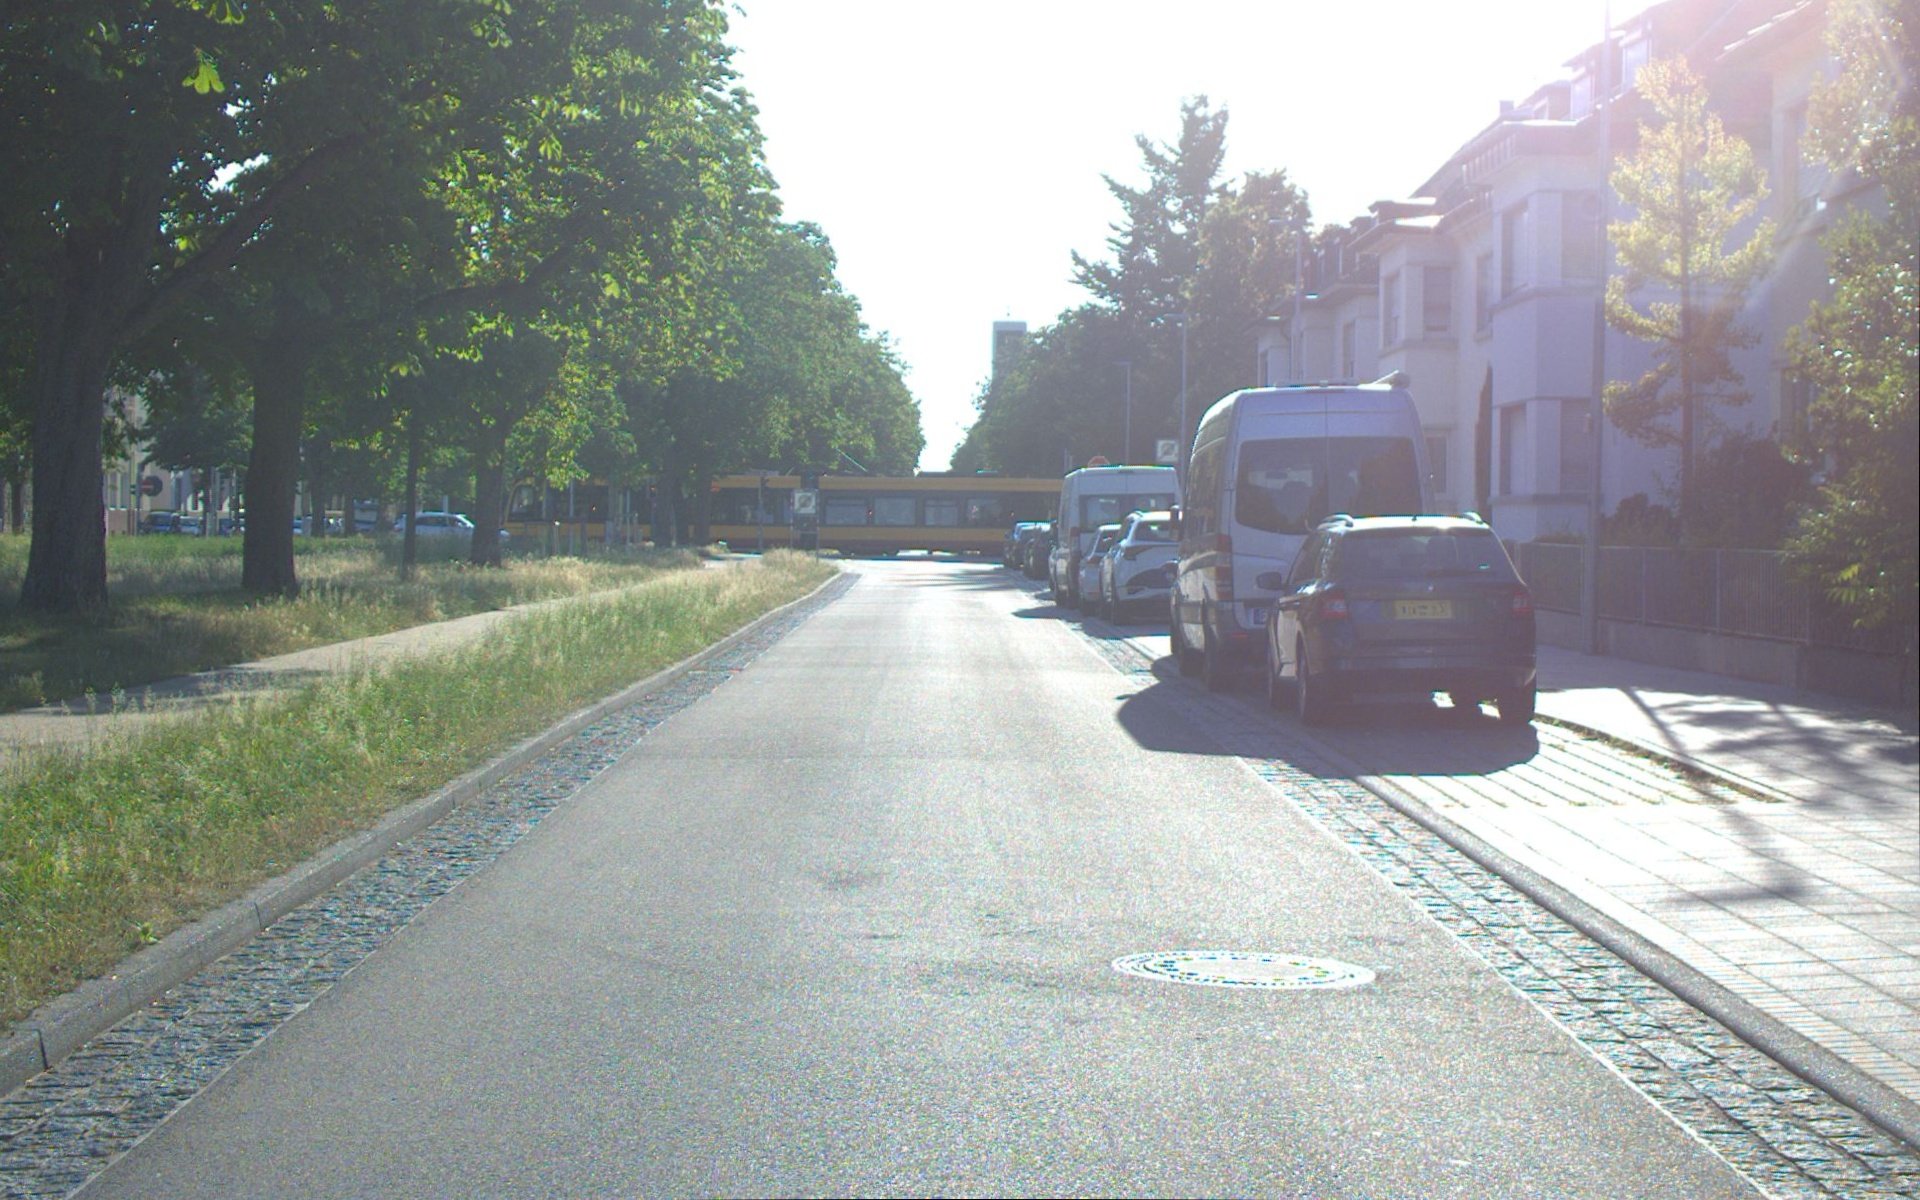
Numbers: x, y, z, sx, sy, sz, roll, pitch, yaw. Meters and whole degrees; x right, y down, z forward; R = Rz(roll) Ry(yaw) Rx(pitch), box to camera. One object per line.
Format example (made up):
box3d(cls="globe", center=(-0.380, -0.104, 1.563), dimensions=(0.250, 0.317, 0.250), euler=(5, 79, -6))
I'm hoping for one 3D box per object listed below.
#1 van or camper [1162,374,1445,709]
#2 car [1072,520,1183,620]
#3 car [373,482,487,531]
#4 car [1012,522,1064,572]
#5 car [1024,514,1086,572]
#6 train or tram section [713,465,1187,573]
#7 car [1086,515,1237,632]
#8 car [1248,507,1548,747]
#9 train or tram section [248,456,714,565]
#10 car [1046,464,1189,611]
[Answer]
box3d(cls="van or camper", center=(3.066, -0.528, 31.940), dimensions=(1.943, 2.768, 5.940), euler=(2, 1, 0))
box3d(cls="car", center=(2.689, -0.512, 55.874), dimensions=(1.650, 1.525, 3.851), euler=(-1, 2, 1))
box3d(cls="car", center=(-20.790, -3.654, 135.027), dimensions=(4.345, 1.758, 2.001), euler=(2, 1, -8))
box3d(cls="car", center=(2.498, -1.725, 110.954), dimensions=(1.650, 1.525, 3.851), euler=(-1, 2, 1))
box3d(cls="car", center=(2.578, -1.577, 94.081), dimensions=(1.650, 1.525, 3.851), euler=(-1, 2, 1))
box3d(cls="train or tram section", center=(-0.502, -3.406, 145.993), dimensions=(19.780, 3.942, 3.644), euler=(2, 1, -4))
box3d(cls="car", center=(2.925, -0.426, 50.665), dimensions=(1.837, 1.630, 4.132), euler=(-1, 2, -2))
box3d(cls="car", center=(3.168, 0.138, 25.559), dimensions=(1.663, 1.587, 4.086), euler=(-2, 1, 0))
box3d(cls="train or tram section", center=(-19.966, -3.740, 144.420), dimensions=(19.069, 3.942, 3.644), euler=(2, 1, -5))
box3d(cls="car", center=(2.799, -1.154, 62.131), dimensions=(2.126, 2.524, 5.189), euler=(-1, 2, -2))
